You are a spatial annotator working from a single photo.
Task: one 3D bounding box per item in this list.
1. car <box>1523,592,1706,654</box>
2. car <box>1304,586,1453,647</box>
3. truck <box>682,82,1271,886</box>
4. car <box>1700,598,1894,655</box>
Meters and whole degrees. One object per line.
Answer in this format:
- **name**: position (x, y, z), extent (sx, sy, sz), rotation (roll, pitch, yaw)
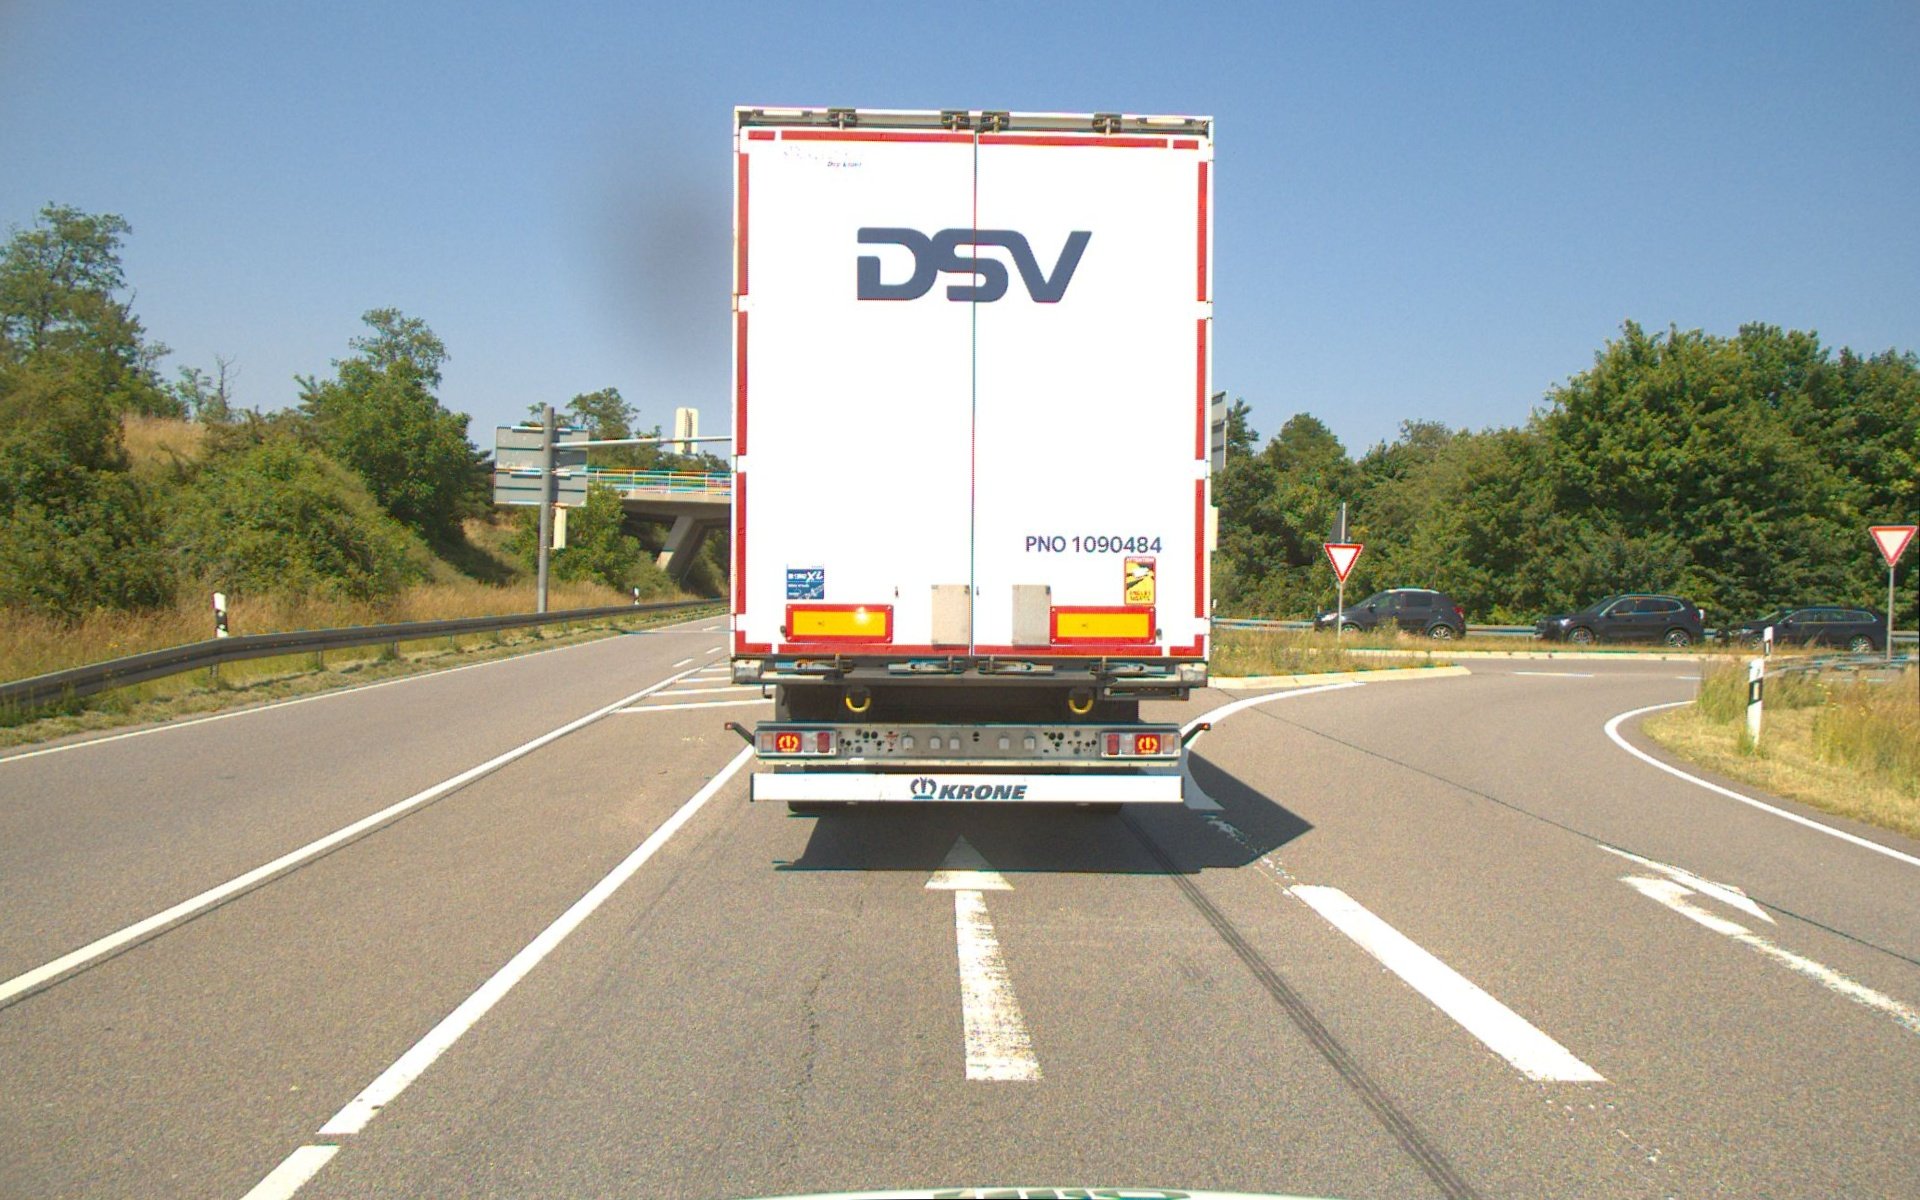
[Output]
- **car**: position (18.096, 0.620, 45.864), extent (4.393, 1.626, 1.768), rotation (1, 0, 2)
- **car**: position (12.051, 0.471, 47.817), extent (3.901, 1.668, 1.842), rotation (1, 0, 5)
- **truck**: position (-0.016, -0.585, 13.263), extent (2.927, 4.011, 9.873), rotation (1, 0, -1)
- **car**: position (23.896, 0.752, 47.338), extent (4.583, 1.540, 1.854), rotation (1, 0, 6)
